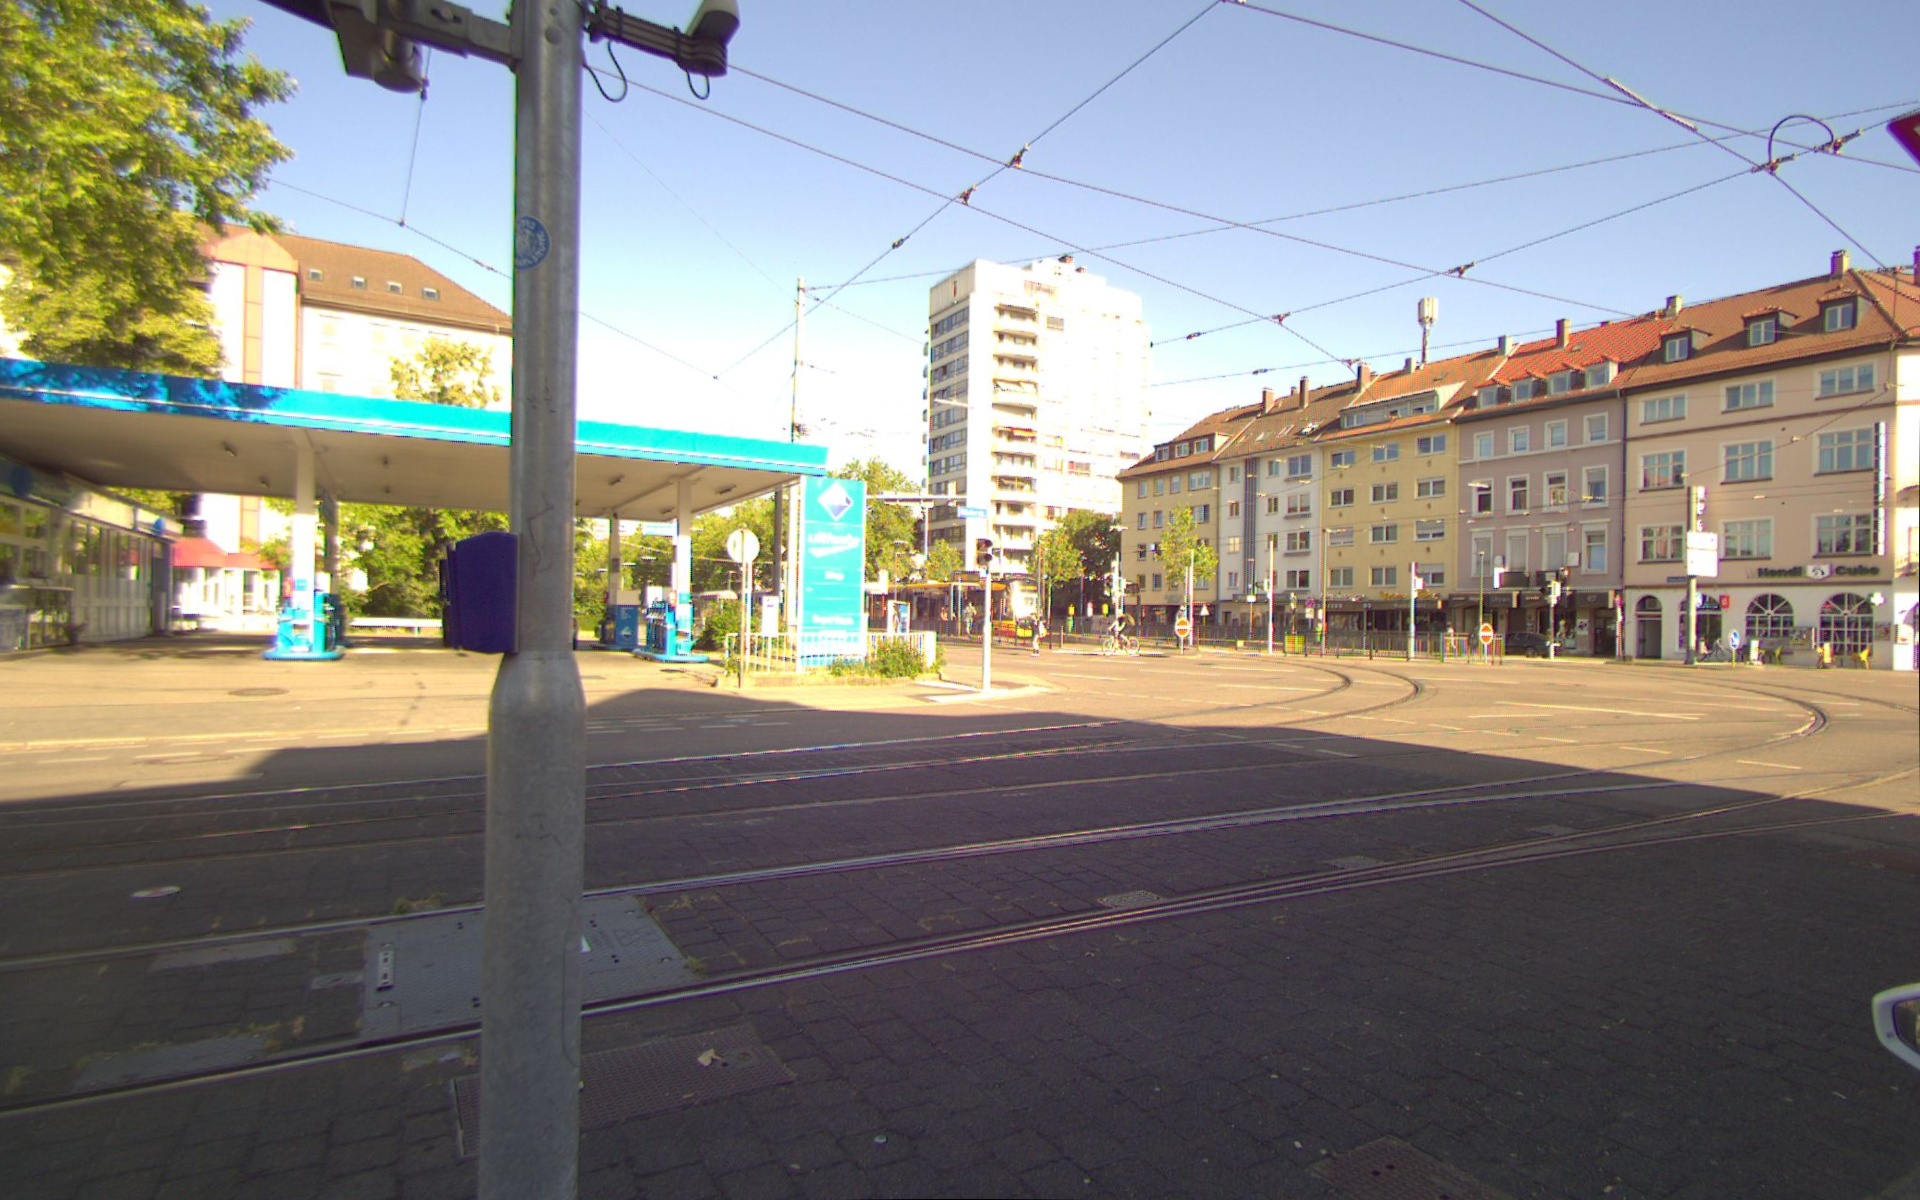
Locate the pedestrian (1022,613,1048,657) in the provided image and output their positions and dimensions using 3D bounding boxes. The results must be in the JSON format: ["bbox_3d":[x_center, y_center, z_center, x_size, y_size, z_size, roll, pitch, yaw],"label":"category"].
[{"bbox_3d":[2.884,1.329,38.715,0.675,1.656,0.694,2,0,-35],"label":"pedestrian"}]

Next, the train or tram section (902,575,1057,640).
[{"bbox_3d":[0.742,0.342,57.529,2.751,3.273,12.286,2,0,-31],"label":"train or tram section"}]

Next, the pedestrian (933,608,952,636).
[{"bbox_3d":[-0.965,1.202,55.067,0.814,1.532,0.699,1,-1,-33],"label":"pedestrian"}]

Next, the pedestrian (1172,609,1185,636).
[{"bbox_3d":[13.369,1.387,61.474,0.570,1.649,0.522,2,0,-31],"label":"pedestrian"}]

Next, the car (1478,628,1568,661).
[{"bbox_3d":[30.849,2.417,55.138,1.970,1.692,3.981,1,-1,-21],"label":"car"}]

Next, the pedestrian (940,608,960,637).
[{"bbox_3d":[-0.527,1.207,53.426,0.814,1.532,0.699,1,-1,-33],"label":"pedestrian"}]

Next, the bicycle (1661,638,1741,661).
[{"bbox_3d":[37.493,2.492,50.893,0.989,0.993,3.115,2,0,-29],"label":"bicycle"}]

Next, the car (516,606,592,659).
[{"bbox_3d":[-12.181,0.940,30.043,1.764,1.411,3.455,2,0,-28],"label":"car"}]

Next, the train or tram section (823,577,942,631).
[{"bbox_3d":[-5.512,0.197,68.030,2.751,3.273,12.286,2,0,-31],"label":"train or tram section"}]

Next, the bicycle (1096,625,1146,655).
[{"bbox_3d":[6.050,1.506,37.750,1.764,1.084,0.573,2,0,-14],"label":"bicycle"}]

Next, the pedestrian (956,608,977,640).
[{"bbox_3d":[0.341,1.231,51.910,0.814,1.608,0.699,1,-1,-33],"label":"pedestrian"}]

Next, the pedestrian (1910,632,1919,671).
[{"bbox_3d":[41.521,2.227,43.365,0.460,1.633,0.629,2,0,-33],"label":"pedestrian"}]

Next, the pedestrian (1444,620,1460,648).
[{"bbox_3d":[30.278,2.084,61.810,0.693,1.656,0.629,2,0,-33],"label":"pedestrian"}]

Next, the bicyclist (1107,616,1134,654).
[{"bbox_3d":[6.028,1.308,37.719,0.789,1.384,0.558,2,0,-14],"label":"bicyclist"}]
